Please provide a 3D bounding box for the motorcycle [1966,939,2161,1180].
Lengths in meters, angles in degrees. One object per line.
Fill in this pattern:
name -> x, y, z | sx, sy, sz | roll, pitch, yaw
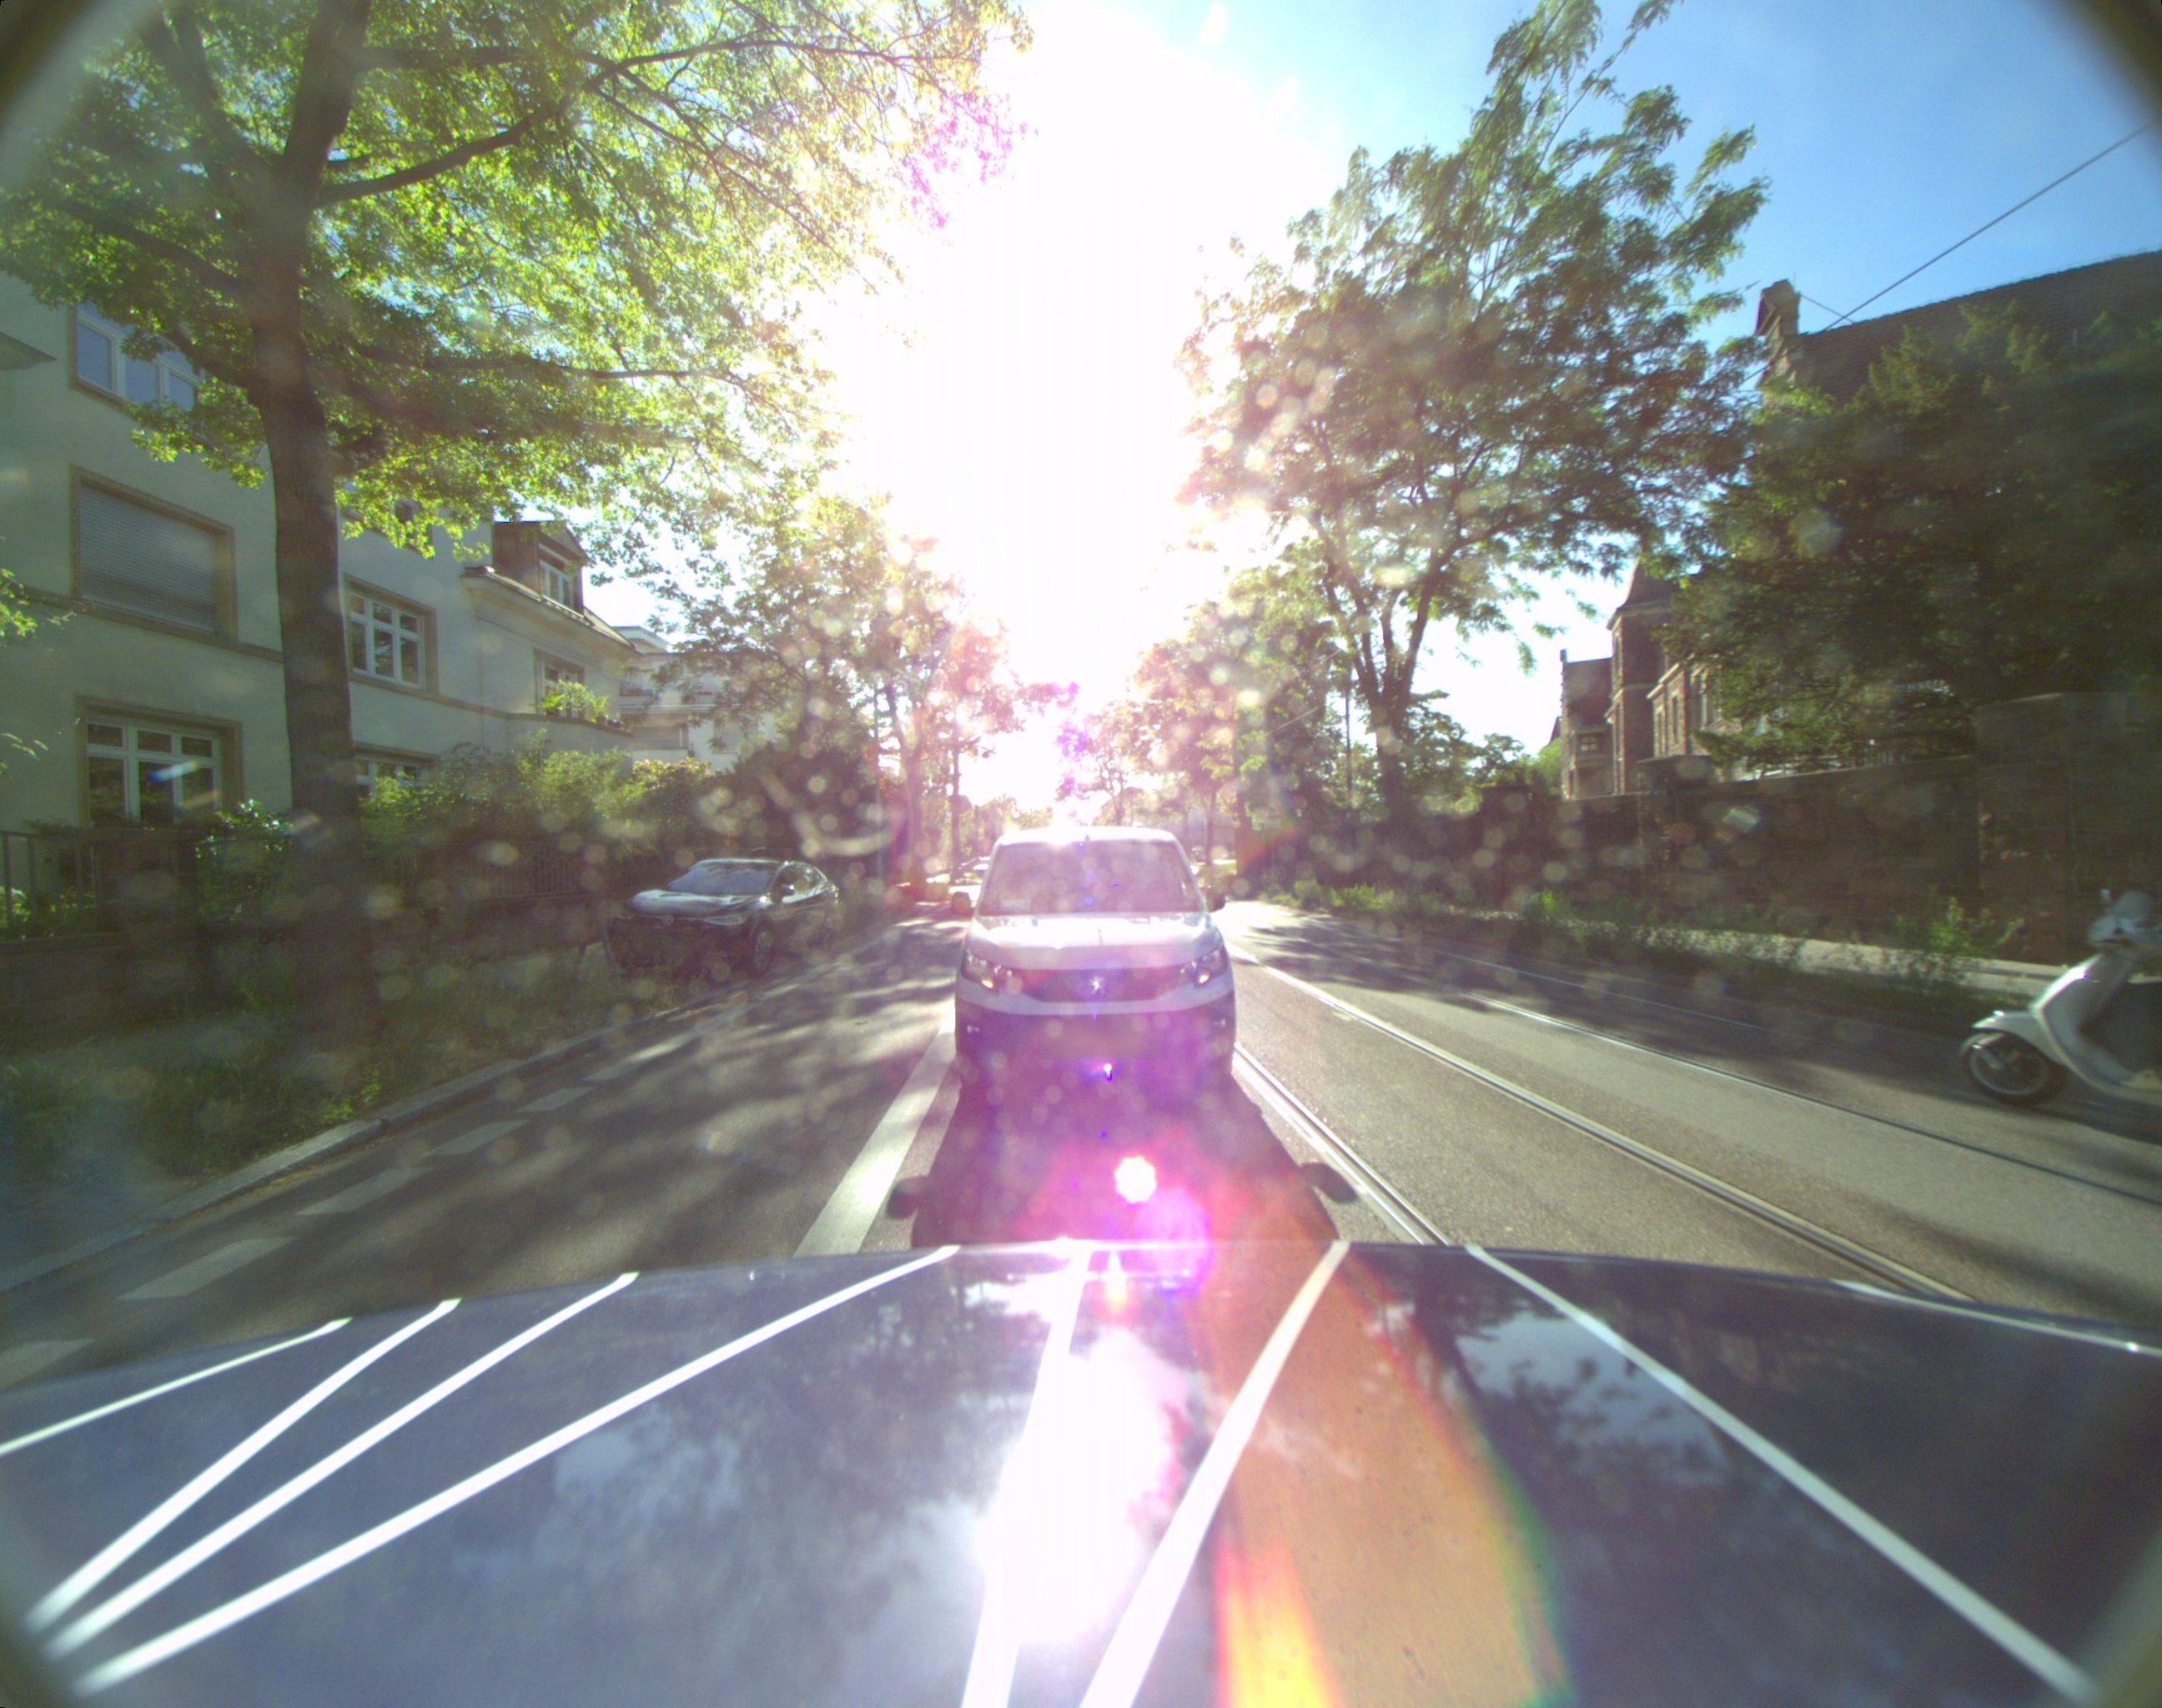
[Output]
motorcycle -> 5.656, 1.059, 3.606 | 0.611, 1.087, 1.855 | -2, 0, -8

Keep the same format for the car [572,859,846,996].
car -> -5.253, 0.935, 11.546 | 1.999, 1.665, 4.380 | 1, -1, 0

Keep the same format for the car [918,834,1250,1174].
car -> 0.010, 0.803, 6.093 | 1.768, 1.812, 3.999 | -1, 0, 0

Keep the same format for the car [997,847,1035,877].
car -> -4.365, 0.504, 51.781 | 2.129, 1.884, 4.746 | -2, 0, 1

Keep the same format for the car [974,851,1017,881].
car -> -5.049, 0.661, 45.220 | 1.823, 1.630, 4.001 | -2, 0, 4
